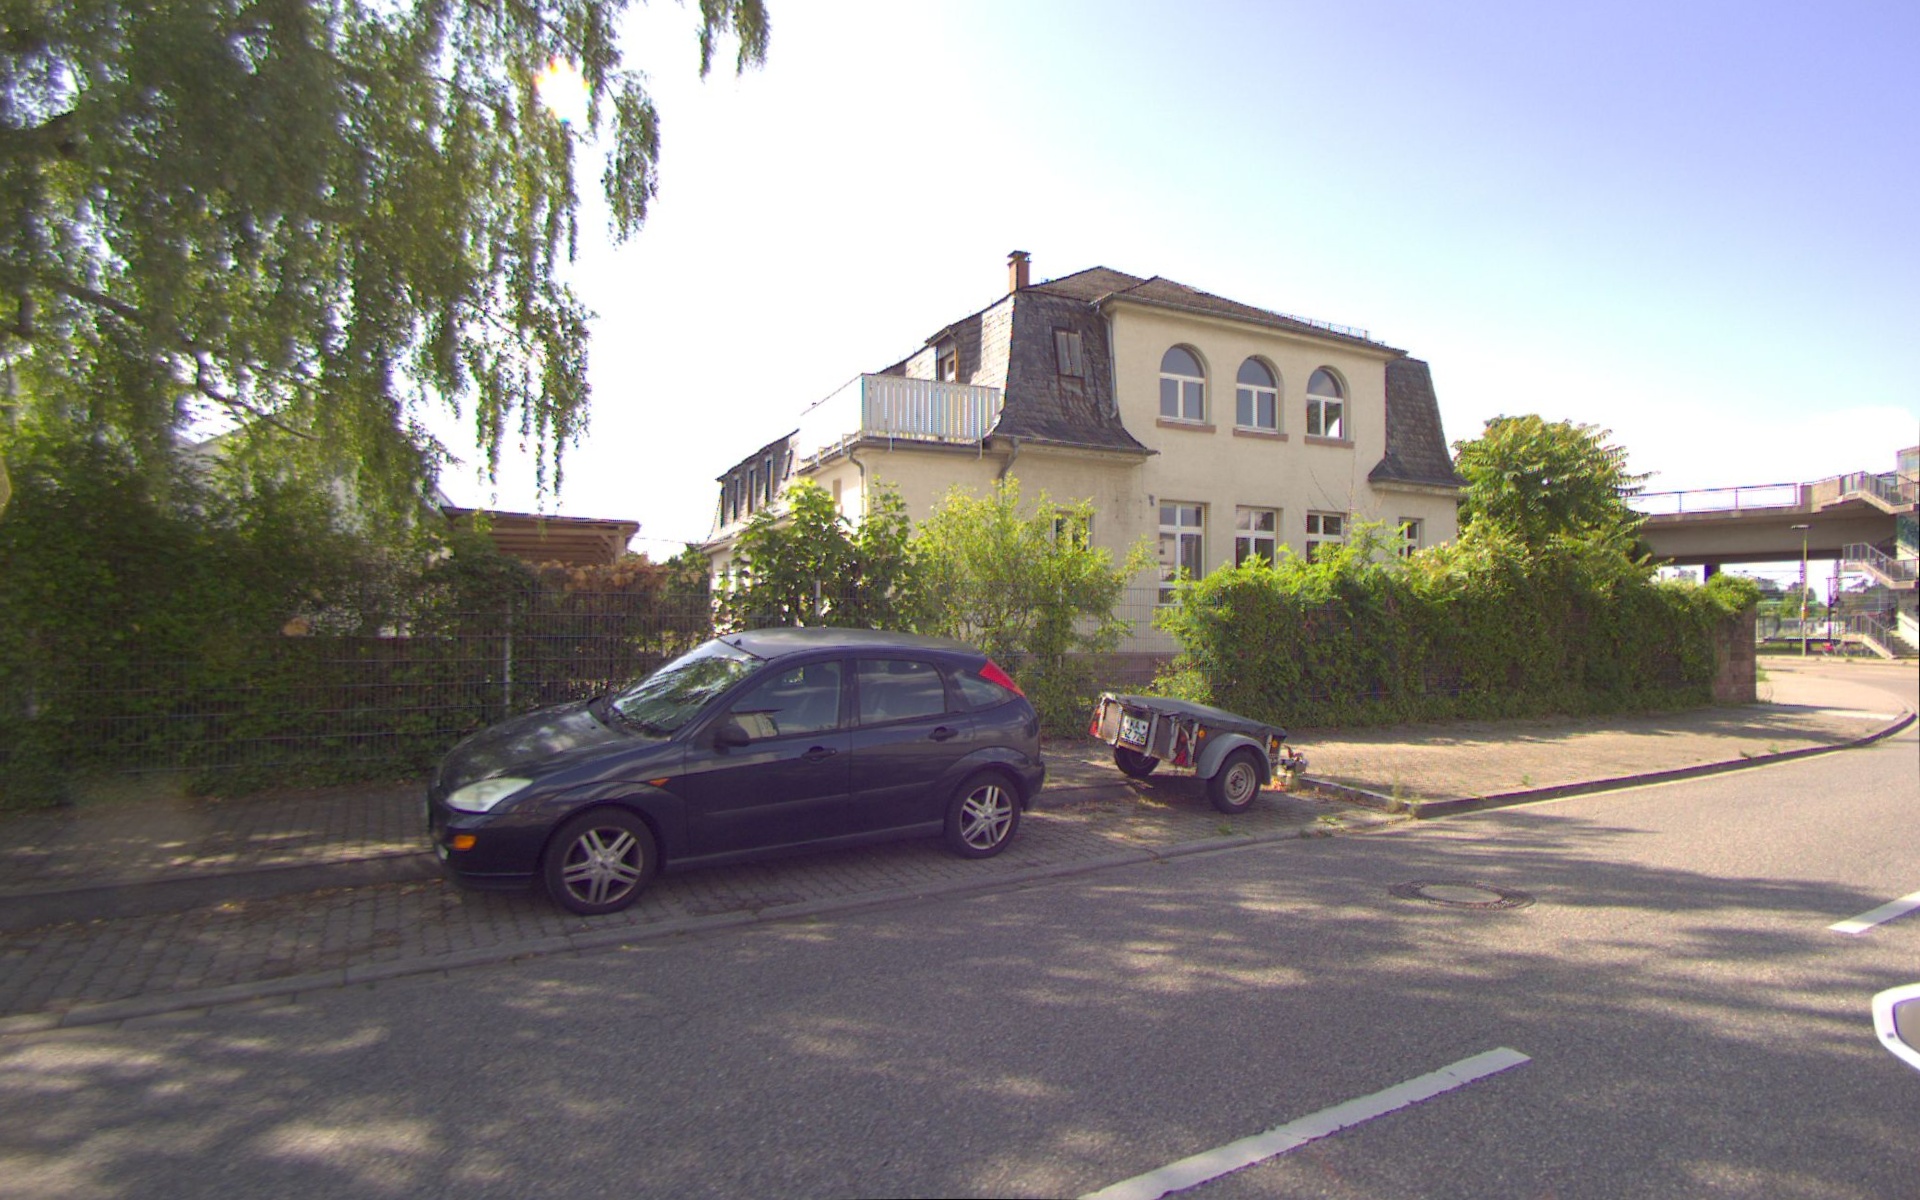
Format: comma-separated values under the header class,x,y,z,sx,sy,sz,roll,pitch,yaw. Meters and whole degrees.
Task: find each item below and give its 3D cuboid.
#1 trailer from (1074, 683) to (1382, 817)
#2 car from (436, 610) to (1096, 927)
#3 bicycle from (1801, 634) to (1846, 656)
class,x,y,z,sx,sy,sz,roll,pitch,yaw
trailer,2.493,1.319,9.384,2.437,0.862,1.457,2,3,-29
car,-1.229,0.931,6.911,4.110,1.533,1.673,2,2,-31
bicycle,47.038,2.444,54.742,0.632,1.122,2.192,-1,-2,3
